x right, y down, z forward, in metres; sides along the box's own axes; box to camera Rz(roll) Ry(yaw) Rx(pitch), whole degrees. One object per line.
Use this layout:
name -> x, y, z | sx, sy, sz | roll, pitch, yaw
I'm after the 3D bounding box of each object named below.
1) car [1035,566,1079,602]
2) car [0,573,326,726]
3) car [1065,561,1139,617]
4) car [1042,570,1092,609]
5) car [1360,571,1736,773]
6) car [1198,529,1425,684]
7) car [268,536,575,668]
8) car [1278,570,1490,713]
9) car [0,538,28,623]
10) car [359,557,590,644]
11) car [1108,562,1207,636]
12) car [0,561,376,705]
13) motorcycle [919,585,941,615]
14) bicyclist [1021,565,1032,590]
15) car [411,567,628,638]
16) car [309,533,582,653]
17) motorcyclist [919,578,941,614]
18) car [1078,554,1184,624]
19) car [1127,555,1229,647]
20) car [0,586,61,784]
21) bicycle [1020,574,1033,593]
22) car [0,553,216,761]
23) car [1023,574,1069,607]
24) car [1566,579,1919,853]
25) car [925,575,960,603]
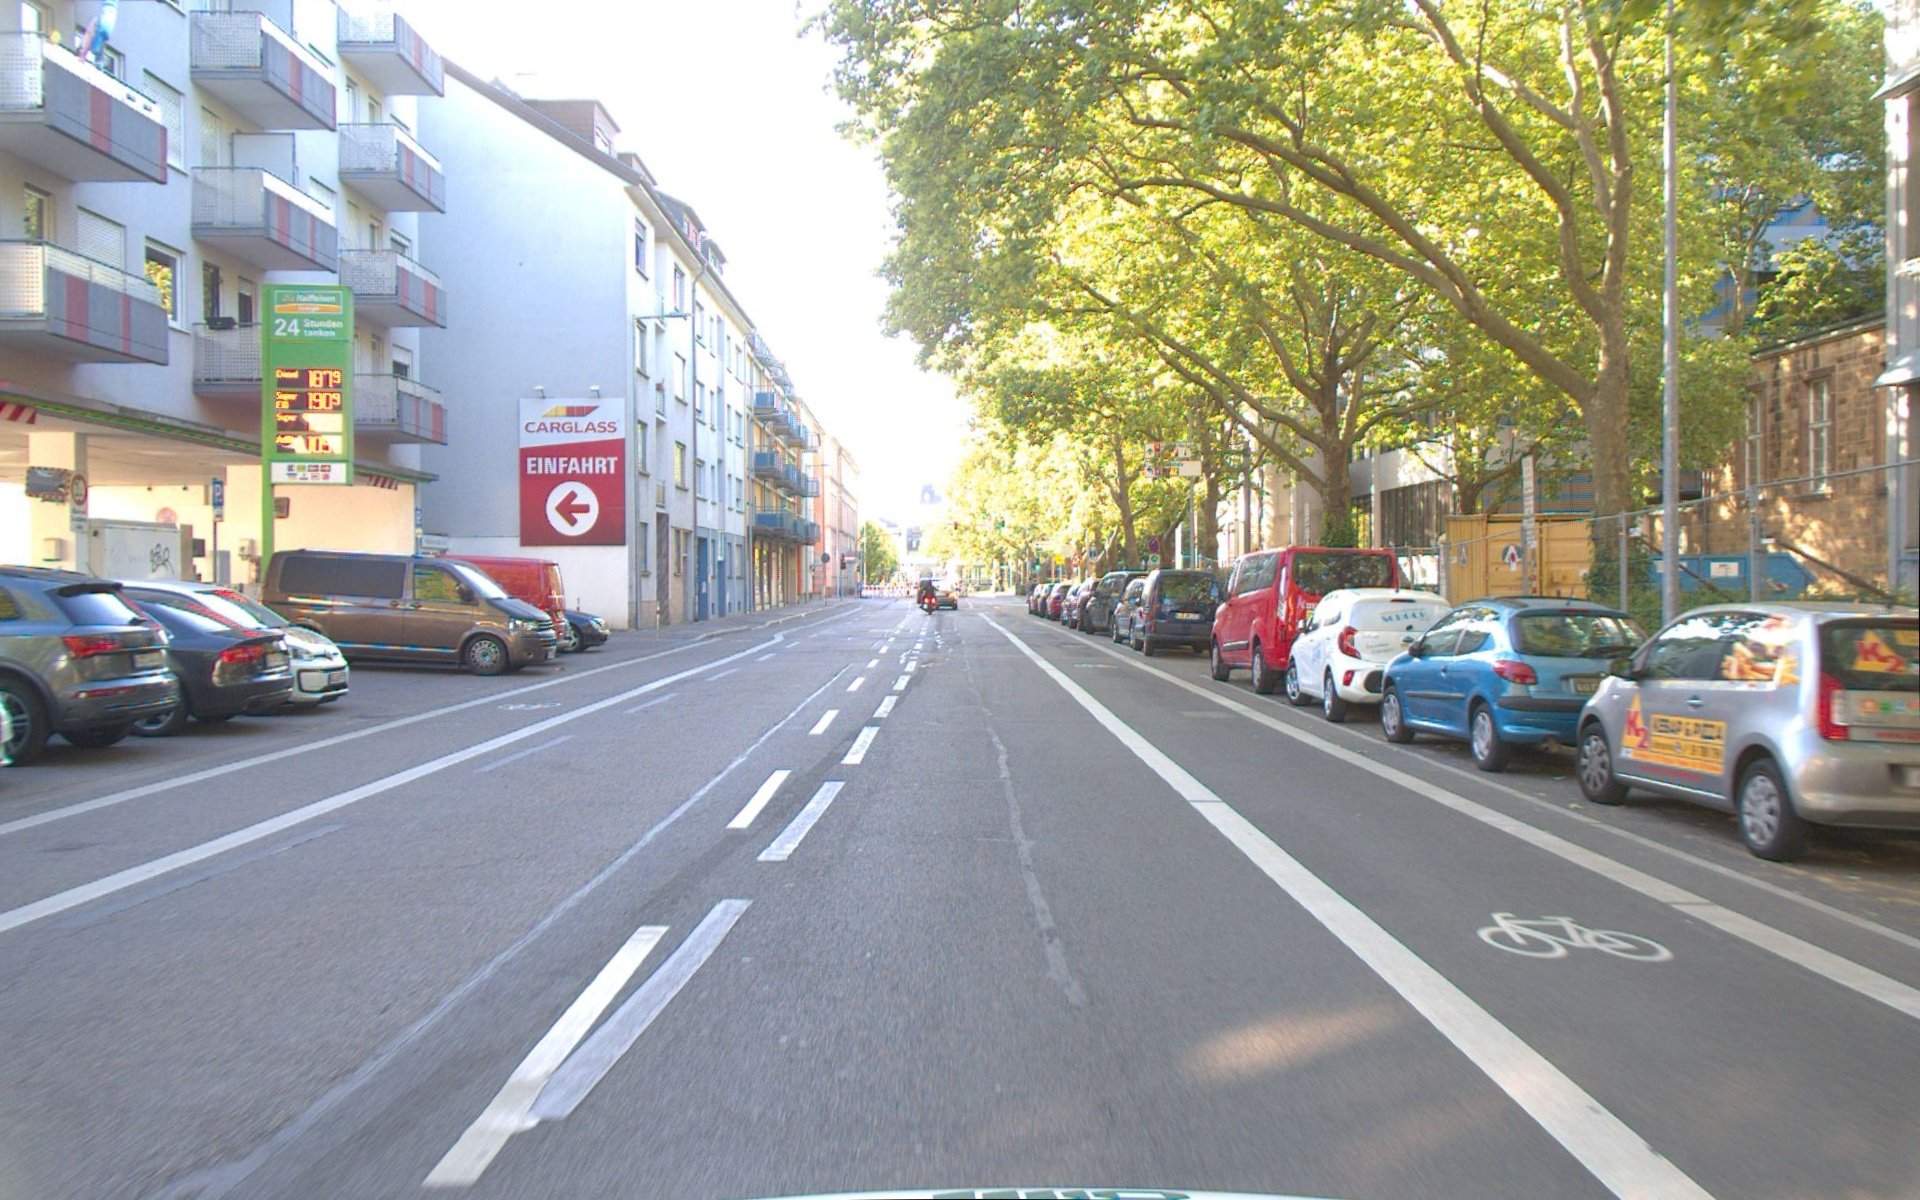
car -> 4.246, -0.691, 72.694 | 1.658, 1.492, 4.065 | 2, 1, 0
car -> -9.017, 0.477, 17.441 | 3.906, 1.481, 1.916 | 1, 1, -1
car -> 4.451, -0.369, 52.476 | 1.740, 1.656, 4.619 | 2, 1, -2
car -> 4.342, -0.445, 67.374 | 1.658, 1.505, 4.318 | 2, 1, -1
car -> 5.185, 0.545, 15.186 | 1.818, 1.537, 3.927 | 2, 1, -4
car -> 5.079, 0.053, 24.717 | 2.036, 2.029, 5.169 | 1, 1, -3
car -> -8.965, 0.018, 27.843 | 4.430, 1.985, 2.056 | 2, 1, -1
car -> 4.986, 0.424, 19.923 | 1.604, 1.511, 3.760 | 2, 1, 1
car -> -20.798, -0.390, 33.145 | 1.686, 1.777, 4.584 | -1, 0, -1
car -> -9.834, -0.001, 33.734 | 4.088, 1.590, 1.886 | 2, 1, -1
car -> 4.784, -0.054, 40.543 | 1.659, 1.656, 4.328 | 2, 1, -3
car -> -9.139, 0.370, 19.790 | 3.611, 1.539, 1.830 | 2, 1, -1
motorcycle -> -1.379, -0.009, 75.717 | 0.992, 1.329, 2.672 | -1, 1, -2
bicyclist -> 4.068, -1.369, 101.140 | 0.643, 1.557, 0.906 | 1, 0, -2
car -> -9.524, 0.051, 36.044 | 4.143, 1.404, 2.046 | 1, 0, -1
car -> -9.453, -0.136, 30.668 | 4.331, 1.985, 2.146 | 2, 1, -1
motorcyclist -> -1.388, -0.181, 75.768 | 0.992, 1.630, 1.406 | -1, 1, -2
car -> 4.816, -0.338, 47.339 | 1.791, 1.873, 4.889 | 2, 1, -9
car -> 4.680, -0.008, 36.001 | 1.658, 1.844, 4.130 | 2, 1, 0
car -> -9.079, 0.613, 12.149 | 3.906, 1.458, 1.853 | 1, 1, -1
bicycle -> 4.064, -1.022, 101.117 | 0.643, 1.131, 2.185 | 1, 0, -1
car -> -9.152, 0.437, 14.734 | 4.109, 1.713, 2.028 | 1, 1, -1
car -> 3.979, -0.456, 77.440 | 1.659, 1.474, 4.434 | 2, 1, -3
car -> 5.549, 0.649, 11.072 | 1.581, 1.501, 3.492 | 2, 1, -2
car -> -0.961, -0.587, 87.414 | 1.791, 1.445, 3.814 | 0, 1, -2
